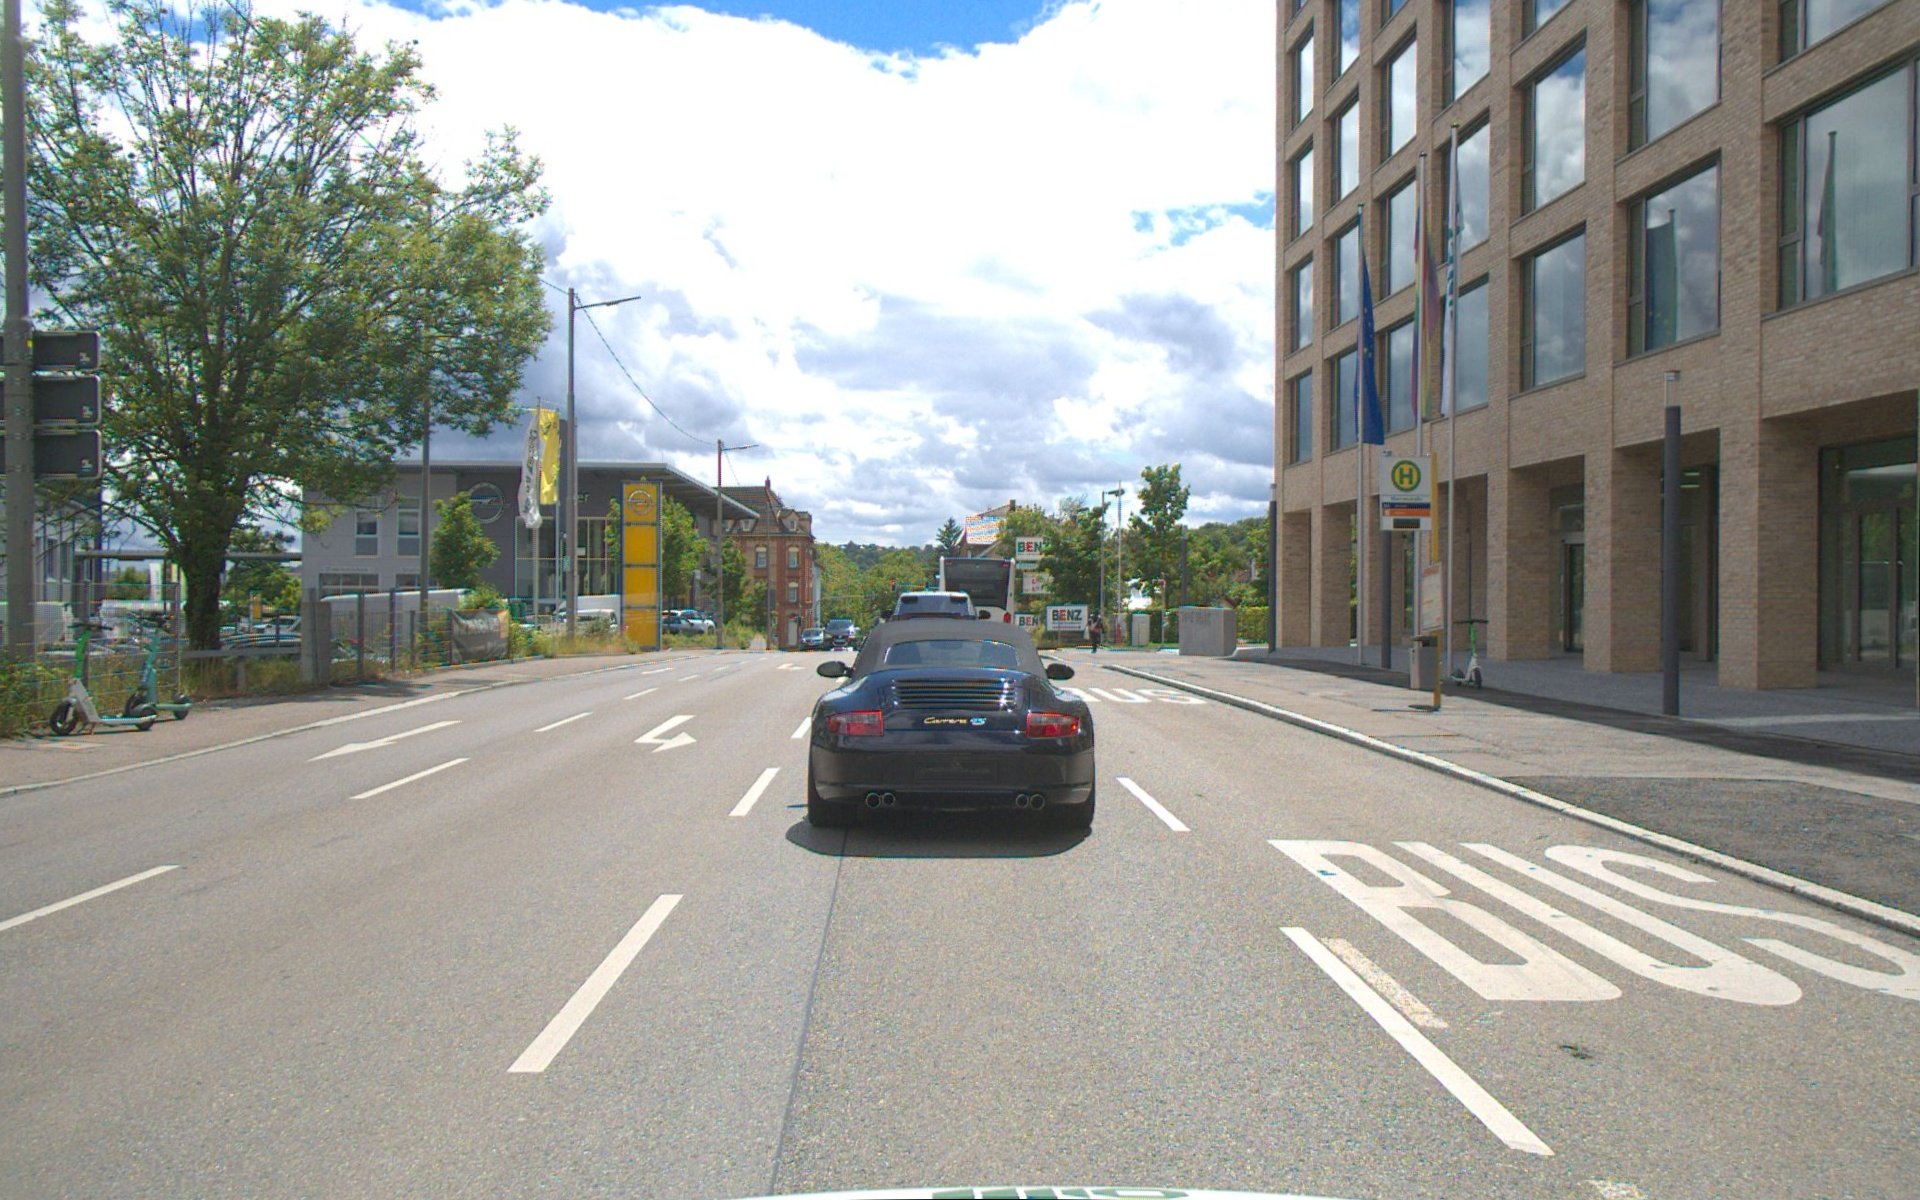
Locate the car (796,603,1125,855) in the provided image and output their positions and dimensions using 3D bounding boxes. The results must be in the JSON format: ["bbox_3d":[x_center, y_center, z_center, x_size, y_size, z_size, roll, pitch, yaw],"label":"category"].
[{"bbox_3d":[-0.024,0.748,11.638,1.891,1.401,4.207,0,0,-1],"label":"car"}]

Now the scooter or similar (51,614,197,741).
[{"bbox_3d":[-8.986,0.803,17.829,0.523,1.284,1.472,1,0,15],"label":"scooter or similar"}]

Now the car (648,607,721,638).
[{"bbox_3d":[-15.117,1.254,90.891,1.891,1.600,4.553,-1,-2,21],"label":"car"}]

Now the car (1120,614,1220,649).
[{"bbox_3d":[9.877,1.495,78.033,4.344,1.508,1.999,-1,-2,-3],"label":"car"}]

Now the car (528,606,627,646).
[{"bbox_3d":[-17.231,1.162,74.602,3.903,1.735,2.001,0,0,3],"label":"car"}]

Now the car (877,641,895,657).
[{"bbox_3d":[-7.714,5.091,172.325,1.827,1.695,4.256,0,-2,-3],"label":"car"}]

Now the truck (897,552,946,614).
[{"bbox_3d":[-2.287,-0.886,96.047,2.613,3.163,9.029,-1,-2,-2],"label":"truck"}]

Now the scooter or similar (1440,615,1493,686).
[{"bbox_3d":[8.751,0.857,28.611,0.418,1.173,1.403,-1,0,-2],"label":"scooter or similar"}]

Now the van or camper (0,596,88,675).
[{"bbox_3d":[-30.314,1.086,50.958,5.797,2.396,2.488,0,0,-21],"label":"van or camper"}]

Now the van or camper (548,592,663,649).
[{"bbox_3d":[-16.489,0.949,77.097,4.926,2.575,2.317,0,0,-3],"label":"van or camper"}]

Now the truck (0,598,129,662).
[{"bbox_3d":[-34.031,1.116,60.566,6.207,2.268,2.683,0,-2,-23],"label":"truck"}]

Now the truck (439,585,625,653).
[{"bbox_3d":[-14.468,0.668,56.210,5.747,2.185,2.474,-1,-2,-5],"label":"truck"}]

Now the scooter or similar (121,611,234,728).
[{"bbox_3d":[-9.118,0.790,19.323,0.523,1.288,1.472,1,0,3],"label":"scooter or similar"}]

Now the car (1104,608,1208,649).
[{"bbox_3d":[9.566,1.397,80.853,4.621,1.881,2.084,-1,-2,-10],"label":"car"}]

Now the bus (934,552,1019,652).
[{"bbox_3d":[0.491,0.014,59.741,2.745,3.254,12.194,0,1,0],"label":"bus"}]

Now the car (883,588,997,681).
[{"bbox_3d":[-0.440,0.595,30.746,1.892,1.610,4.204,0,0,-4],"label":"car"}]

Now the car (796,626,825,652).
[{"bbox_3d":[-10.116,2.644,112.013,1.709,1.623,4.039,-2,-1,-3],"label":"car"}]

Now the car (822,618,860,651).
[{"bbox_3d":[-5.762,1.708,80.694,1.793,1.535,4.273,-1,-1,-4],"label":"car"}]

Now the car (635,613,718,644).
[{"bbox_3d":[-14.688,1.459,85.924,1.857,1.476,4.828,0,1,25],"label":"car"}]

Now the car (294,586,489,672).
[{"bbox_3d":[-13.857,0.693,40.554,4.078,2.049,2.197,0,0,-4],"label":"car"}]

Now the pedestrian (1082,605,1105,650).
[{"bbox_3d":[4.672,0.970,57.957,0.673,1.563,0.856,0,-1,-2],"label":"pedestrian"}]
